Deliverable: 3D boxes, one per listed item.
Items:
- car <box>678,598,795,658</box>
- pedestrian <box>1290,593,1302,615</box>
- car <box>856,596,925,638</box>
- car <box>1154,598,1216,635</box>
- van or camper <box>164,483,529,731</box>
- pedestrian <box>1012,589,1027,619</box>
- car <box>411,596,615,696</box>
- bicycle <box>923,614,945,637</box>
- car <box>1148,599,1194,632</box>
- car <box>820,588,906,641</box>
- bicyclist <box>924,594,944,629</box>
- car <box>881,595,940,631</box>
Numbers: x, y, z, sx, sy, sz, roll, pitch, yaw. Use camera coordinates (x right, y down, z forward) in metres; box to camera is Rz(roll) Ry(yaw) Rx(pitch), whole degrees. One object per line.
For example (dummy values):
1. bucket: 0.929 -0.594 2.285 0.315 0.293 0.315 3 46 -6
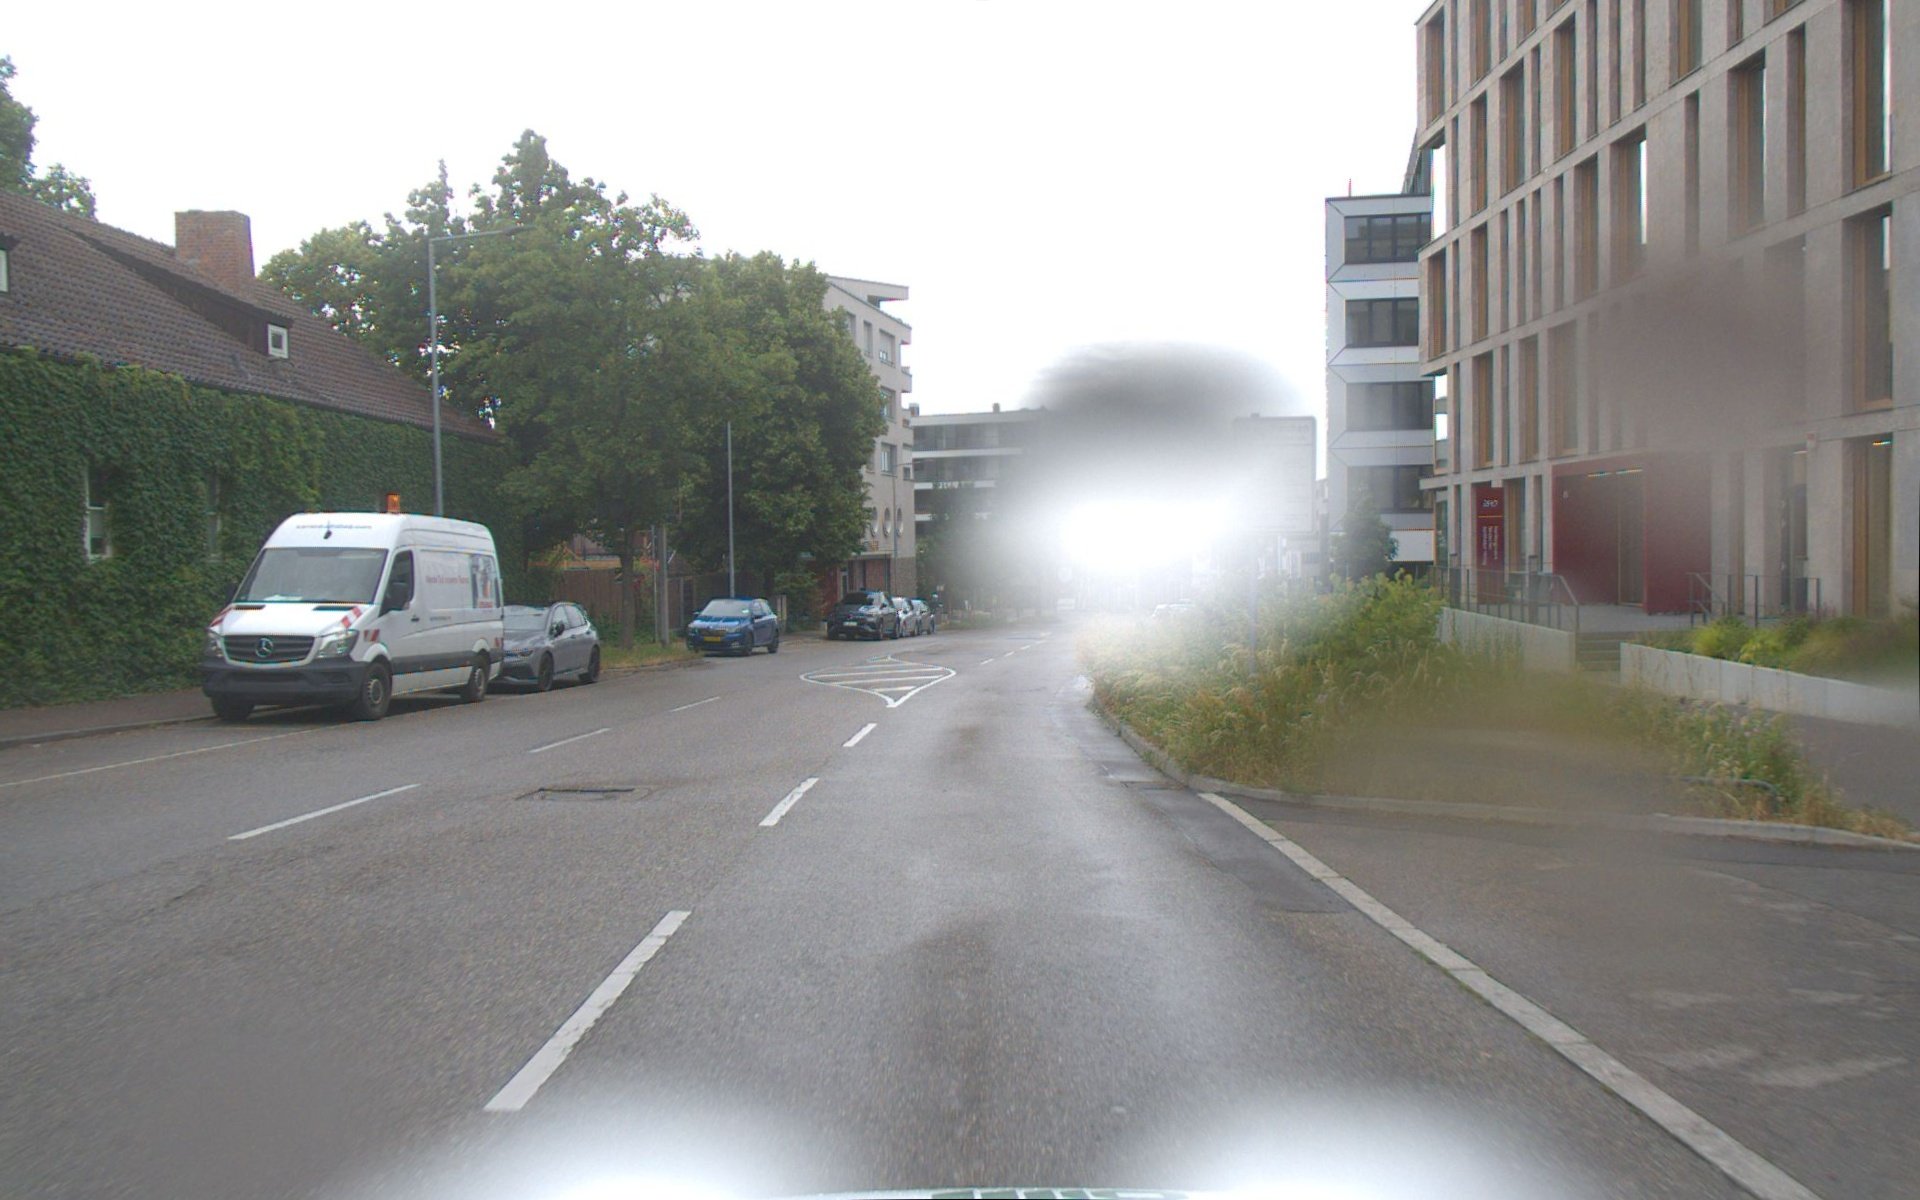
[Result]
1. car: -5.850 0.722 43.823 1.951 1.496 4.189 1 0 9
2. pedestrian: 27.969 0.365 137.711 0.805 1.827 1.209 -1 -1 17
3. car: -2.762 0.667 66.699 1.947 1.621 4.493 1 0 9
4. car: 9.707 0.692 71.526 2.003 1.484 4.054 1 0 -2
5. van or camper: -7.846 0.058 22.041 2.291 2.813 6.144 1 0 3
6. pedestrian: 4.164 0.303 115.454 1.033 2.049 1.100 1 -1 2
7. car: -7.478 0.735 28.137 1.951 1.539 4.425 1 0 5
8. bicycle: -1.176 1.138 74.516 0.785 0.996 2.256 1 0 4
9. car: 10.016 0.715 78.205 1.996 1.490 4.506 1 0 9
10. car: -3.490 0.521 60.775 1.951 1.818 5.415 0 0 10
11. bicyclist: -1.173 0.516 74.474 0.784 1.549 1.202 1 0 4
12. car: -2.093 0.547 71.126 1.839 1.488 3.850 0 0 10
